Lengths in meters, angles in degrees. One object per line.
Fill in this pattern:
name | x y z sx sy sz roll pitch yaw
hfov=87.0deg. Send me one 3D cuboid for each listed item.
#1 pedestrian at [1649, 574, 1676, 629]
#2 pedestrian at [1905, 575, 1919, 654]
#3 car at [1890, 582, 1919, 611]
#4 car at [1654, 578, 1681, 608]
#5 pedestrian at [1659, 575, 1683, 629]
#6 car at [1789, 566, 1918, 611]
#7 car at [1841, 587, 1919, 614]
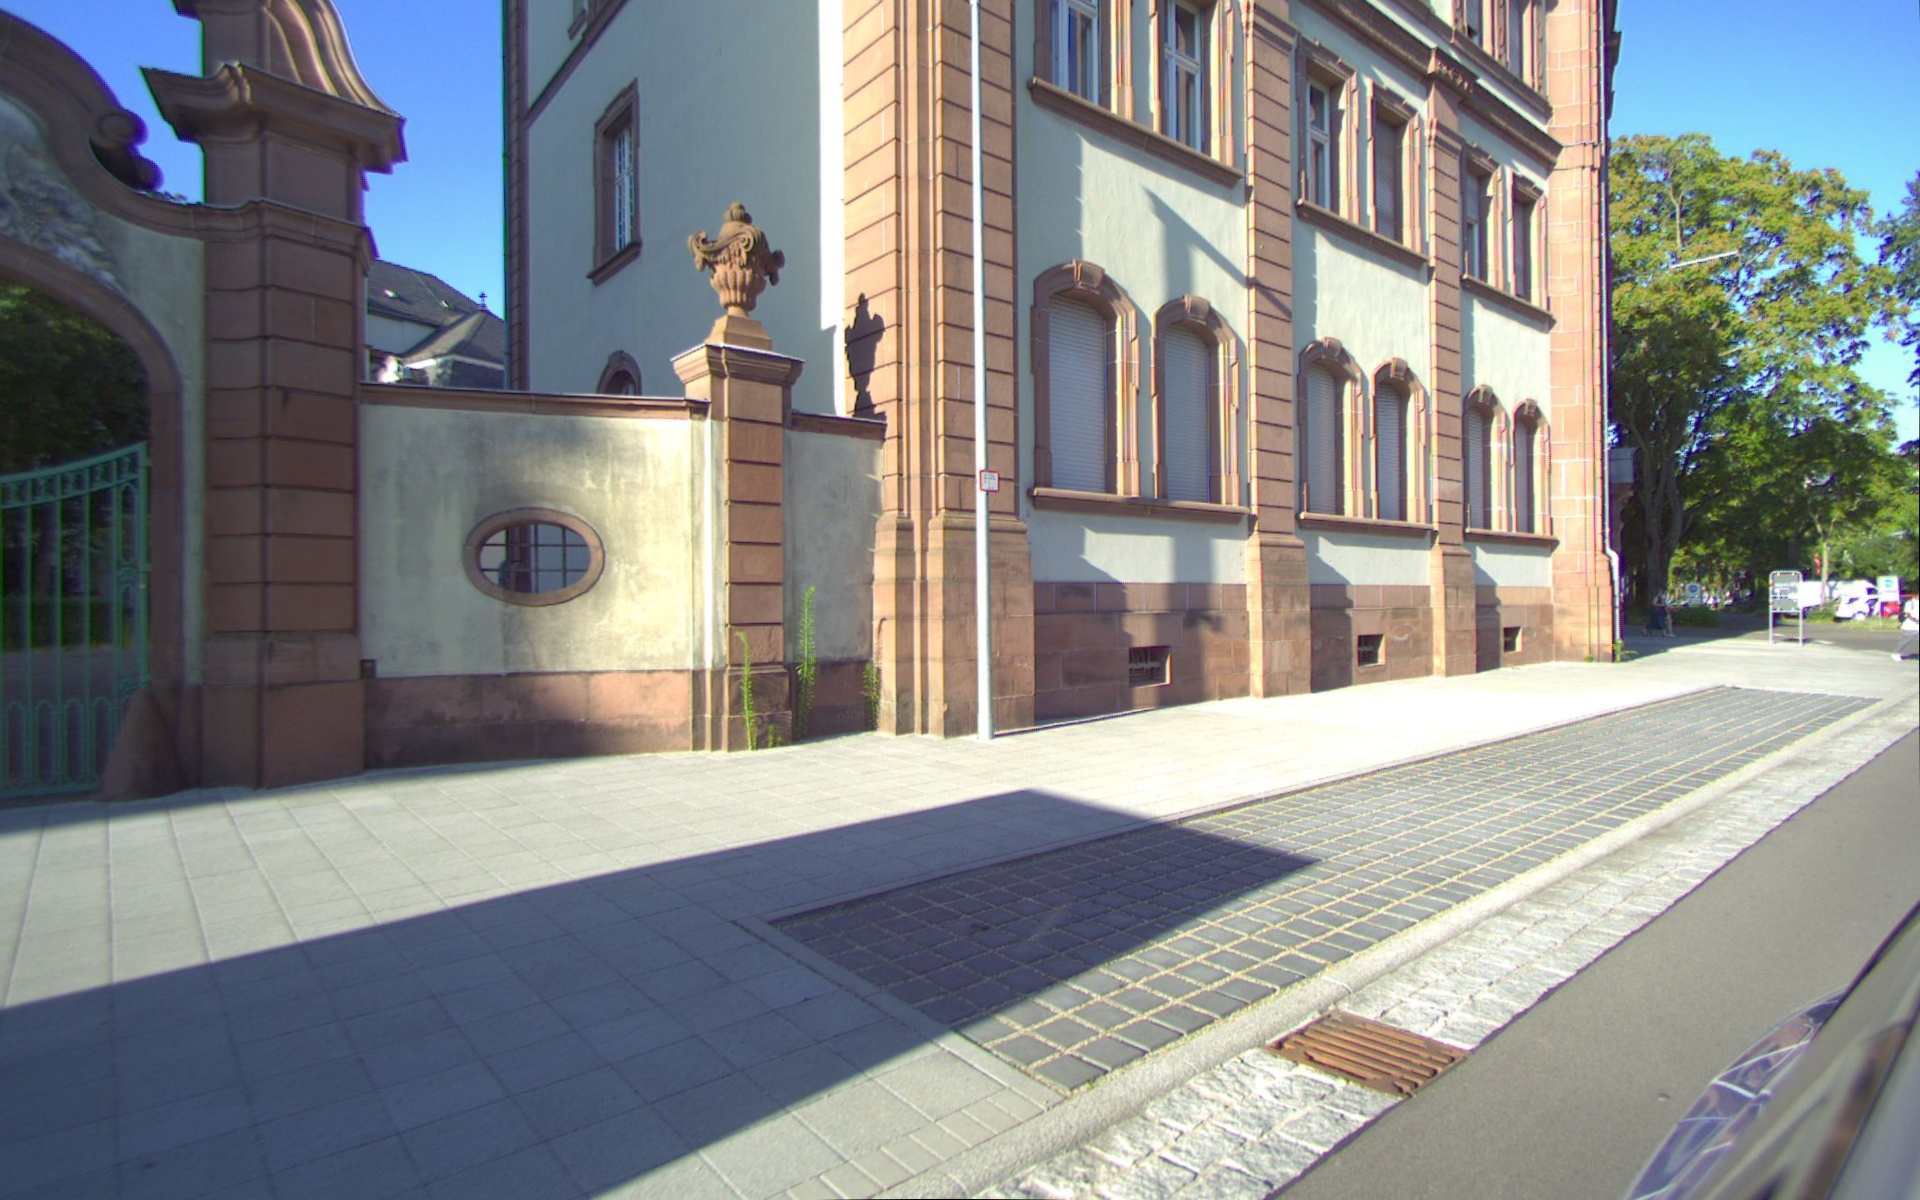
pedestrian | 24.122 0.062 34.752 0.712 1.864 0.780 -1 -2 34
pedestrian | 21.624 0.312 22.631 0.530 1.740 0.991 1 1 32
car | 49.338 -0.211 50.746 3.649 1.438 1.700 -1 -1 31
car | 65.026 -0.663 93.049 1.940 2.632 4.113 -2 -1 35
pedestrian | 24.773 0.071 35.271 0.608 1.864 0.717 -1 -3 34
car | 58.044 -0.718 65.928 5.860 2.735 2.197 -1 -1 31
car | 51.617 0.010 55.997 4.025 1.438 1.700 -1 -1 31
